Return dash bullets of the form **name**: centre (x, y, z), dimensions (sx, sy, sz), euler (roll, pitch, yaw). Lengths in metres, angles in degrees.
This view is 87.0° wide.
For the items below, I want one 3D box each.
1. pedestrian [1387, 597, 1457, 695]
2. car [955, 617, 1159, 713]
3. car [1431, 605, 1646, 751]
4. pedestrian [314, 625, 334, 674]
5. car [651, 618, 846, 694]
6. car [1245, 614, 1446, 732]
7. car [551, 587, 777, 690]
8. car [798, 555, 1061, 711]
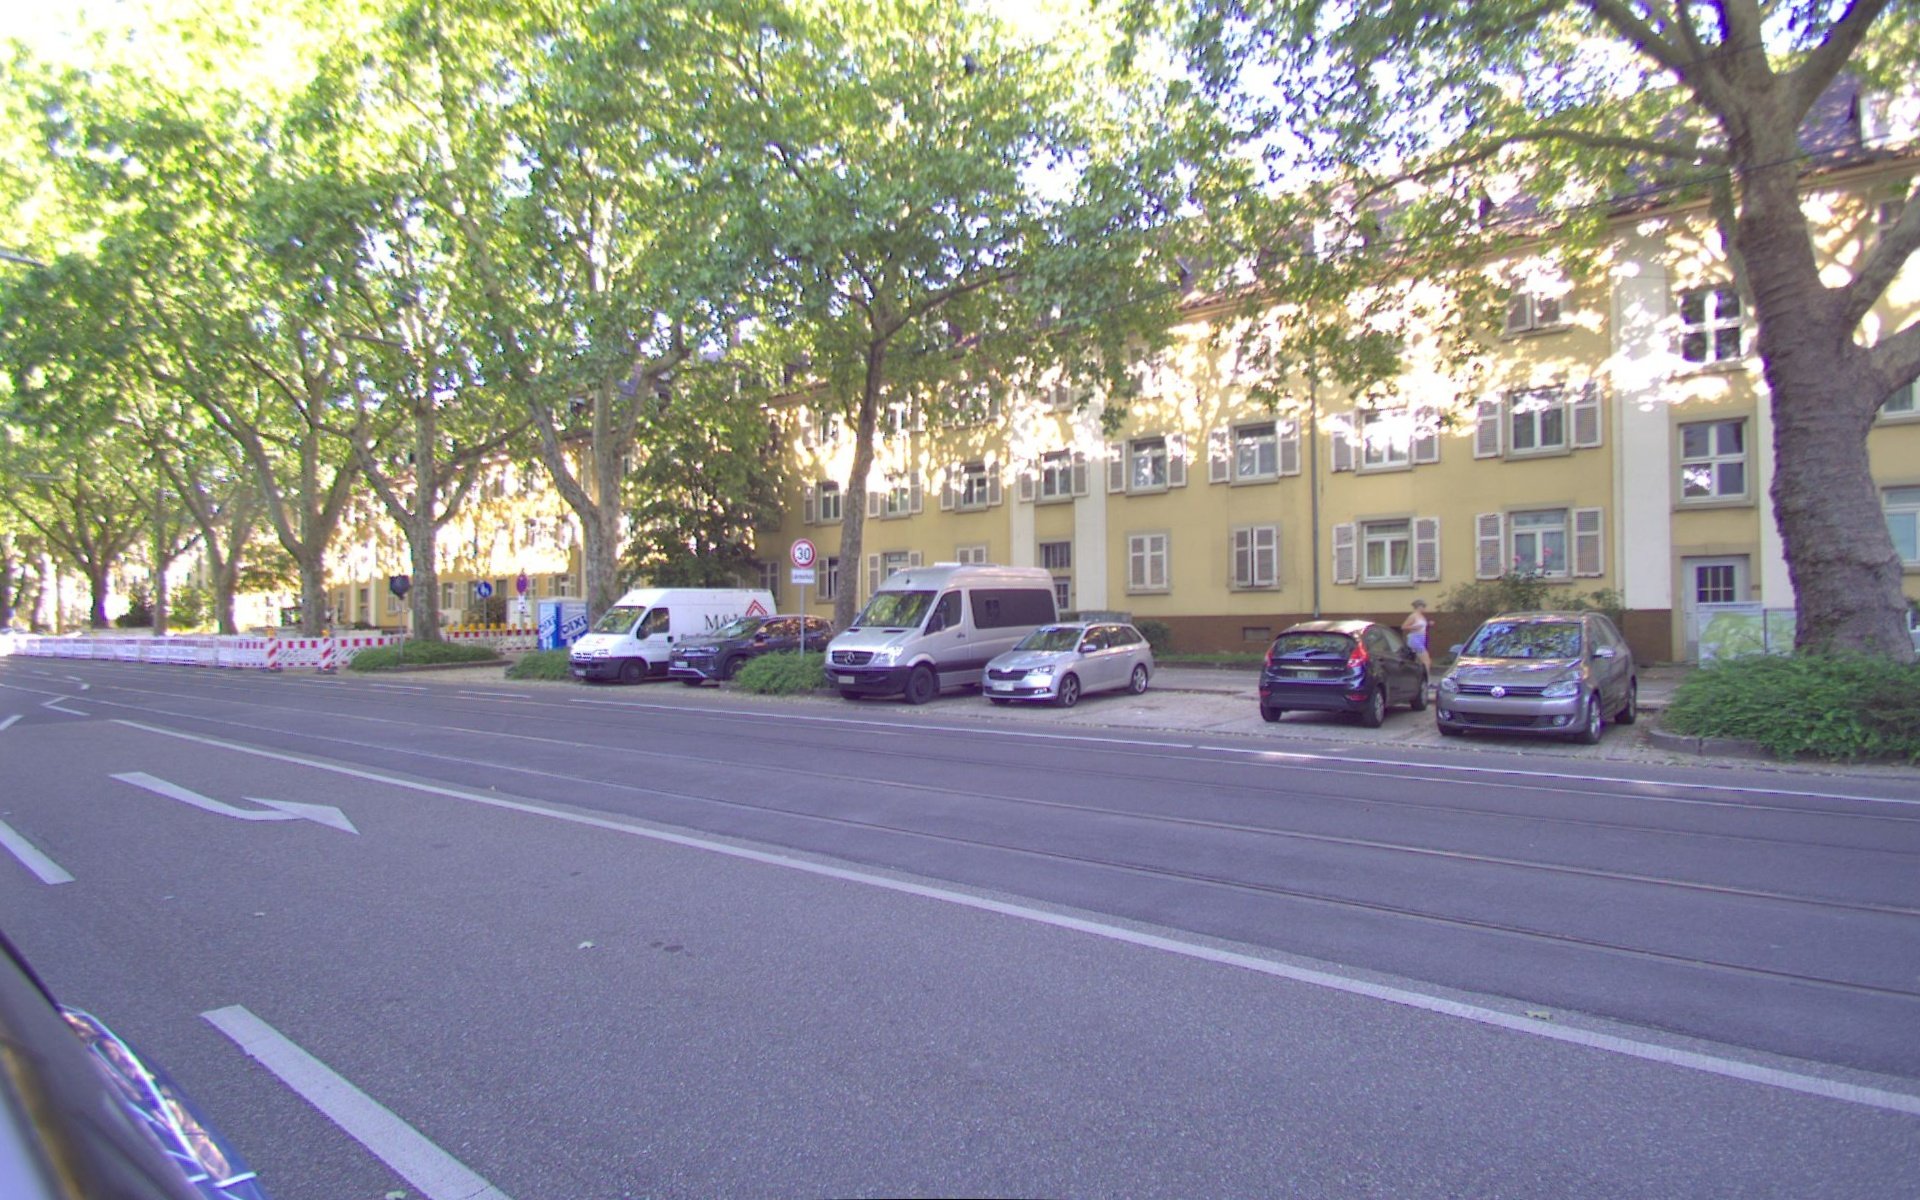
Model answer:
- **pedestrian**: centre (8.215, 0.796, 17.991), dimensions (0.954, 1.673, 0.764), euler (-1, 0, 39)
- **car**: centre (1.906, 1.127, 18.846), dimensions (1.773, 1.509, 4.031), euler (-2, -1, 41)
- **car**: centre (7.737, 0.904, 13.377), dimensions (1.672, 1.592, 3.928), euler (-2, -1, 42)
- **pedestrian**: centre (-23.411, 1.806, 37.259), dimensions (0.573, 1.759, 0.654), euler (-1, 0, -32)
- **car**: centre (-4.984, 1.281, 24.458), dimensions (1.772, 1.664, 4.570), euler (-2, -2, 38)
- **car**: centre (5.960, 1.006, 15.428), dimensions (1.671, 1.509, 3.756), euler (-2, -1, 41)
- **car**: centre (-7.566, 0.970, 26.385), dimensions (2.222, 2.394, 5.336), euler (-2, -2, 40)
- **car**: centre (-0.432, 0.614, 20.458), dimensions (2.221, 2.702, 5.596), euler (-2, -1, 38)
